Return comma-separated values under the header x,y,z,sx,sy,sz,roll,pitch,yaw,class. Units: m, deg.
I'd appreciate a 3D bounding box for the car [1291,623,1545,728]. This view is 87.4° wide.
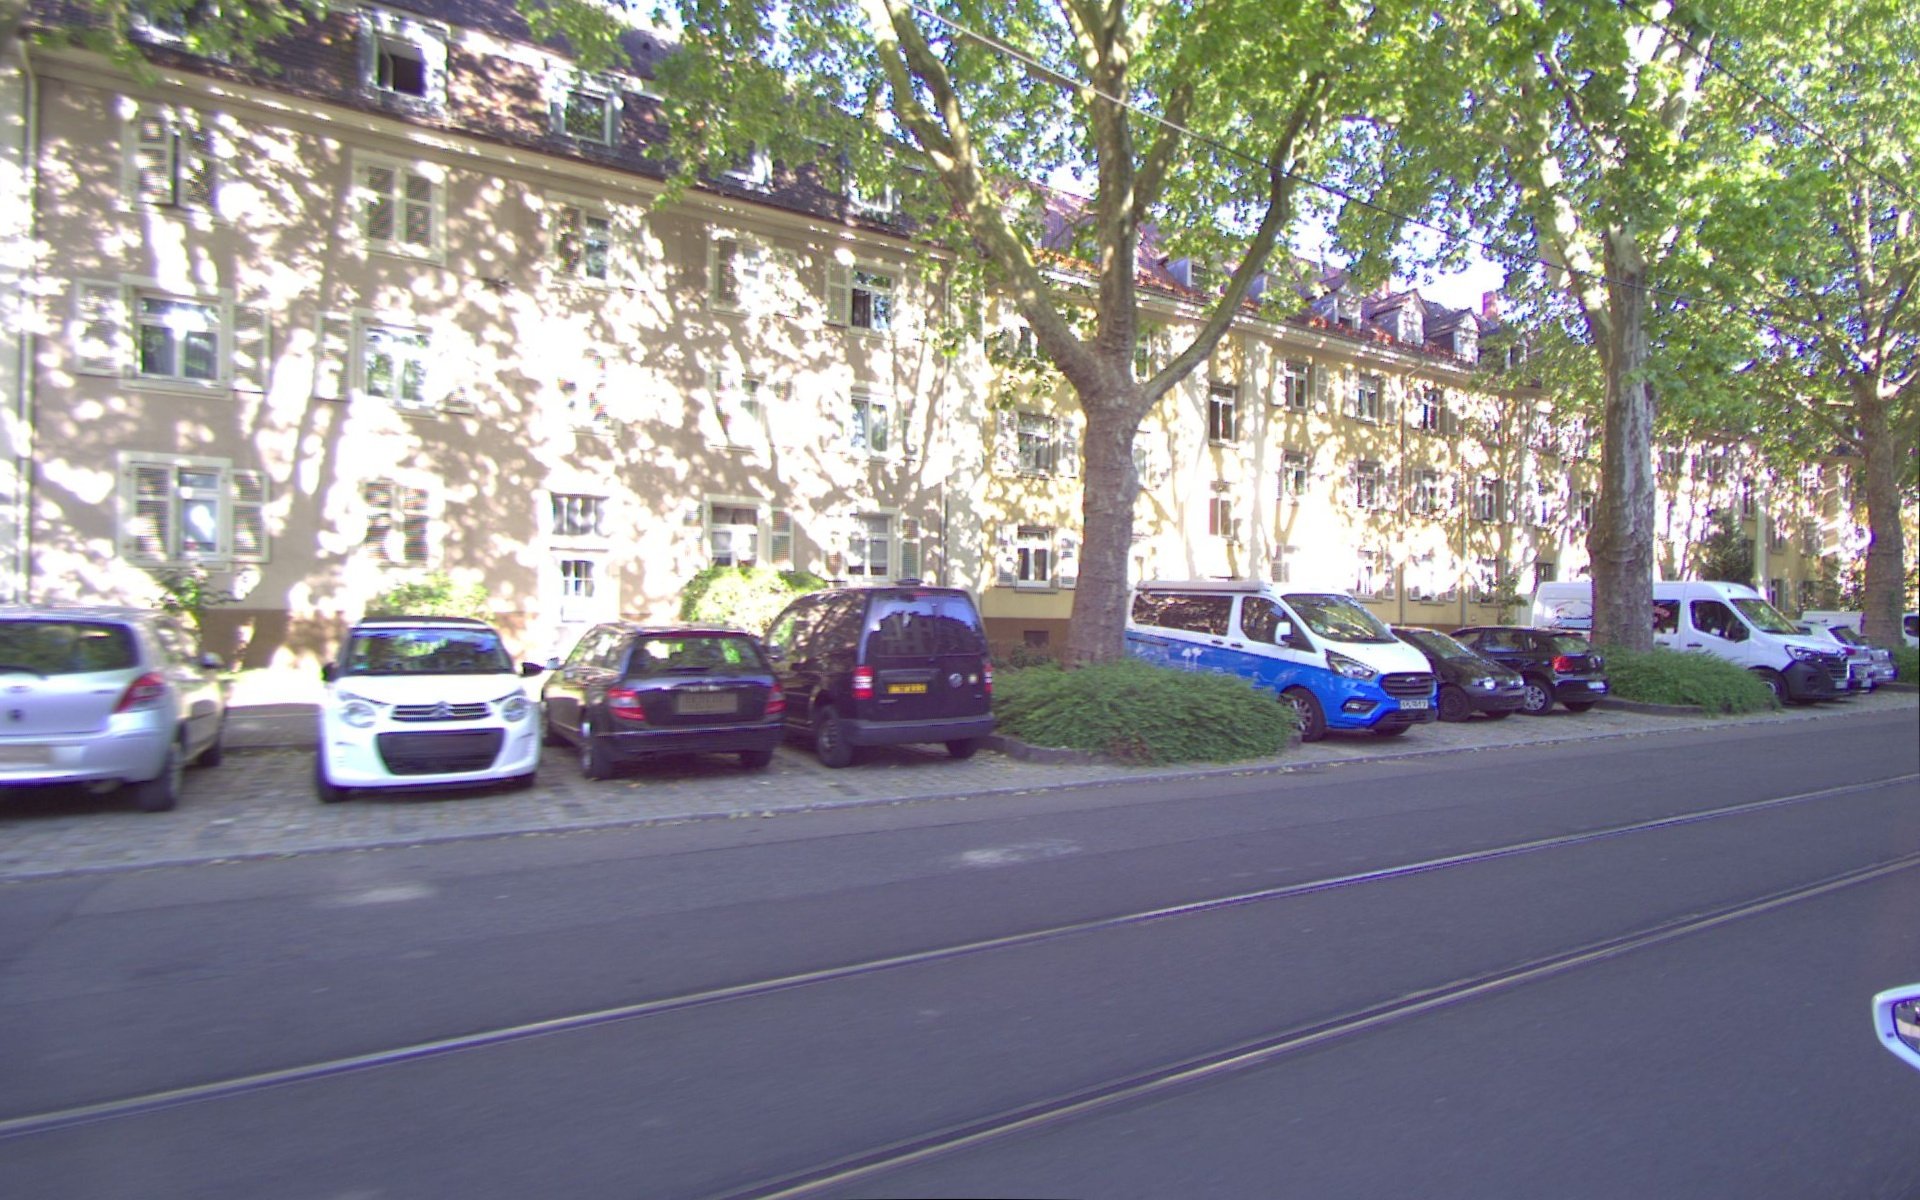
x,y,z,sx,sy,sz,roll,pitch,yaw,class
7.538,1.171,16.782,1.680,1.479,3.505,1,-1,-36,car

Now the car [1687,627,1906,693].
x,y,z,sx,sy,sz,roll,pitch,yaw,class
20.806,1.439,25.154,1.840,1.517,3.831,1,-2,-29,car

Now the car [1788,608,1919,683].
x,y,z,sx,sy,sz,roll,pitch,yaw,class
26.306,1.249,27.989,1.940,1.971,4.630,1,-1,-32,car

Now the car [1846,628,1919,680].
x,y,z,sx,sy,sz,roll,pitch,yaw,class
28.741,1.578,29.404,1.840,1.517,3.831,1,-2,-29,car

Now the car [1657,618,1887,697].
x,y,z,sx,sy,sz,roll,pitch,yaw,class
19.001,1.289,23.670,1.840,1.685,3.831,1,-2,-29,car

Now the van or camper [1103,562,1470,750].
x,y,z,sx,sy,sz,roll,pitch,yaw,class
4.453,0.684,14.503,2.097,2.219,4.791,1,-1,-33,van or camper

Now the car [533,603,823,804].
x,y,z,sx,sy,sz,roll,pitch,yaw,class
-3.034,0.875,10.300,1.781,1.646,3.658,1,-1,-34,car

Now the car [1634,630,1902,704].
x,y,z,sx,sy,sz,roll,pitch,yaw,class
17.480,1.381,21.964,1.732,1.417,4.246,1,-2,-29,car

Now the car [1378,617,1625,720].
x,y,z,sx,sy,sz,roll,pitch,yaw,class
9.552,1.137,18.007,1.592,1.586,3.669,1,-1,-27,car

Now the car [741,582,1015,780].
x,y,z,sx,sy,sz,roll,pitch,yaw,class
-1.083,0.772,11.362,1.684,1.839,3.664,1,-1,-30,car

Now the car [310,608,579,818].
x,y,z,sx,sy,sz,roll,pitch,yaw,class
-4.922,0.858,9.336,1.686,1.505,3.656,1,-1,-36,car

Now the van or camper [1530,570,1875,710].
x,y,z,sx,sy,sz,roll,pitch,yaw,class
15.407,0.753,21.251,2.414,2.549,5.368,1,-1,-28,van or camper

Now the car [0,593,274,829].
x,y,z,sx,sy,sz,roll,pitch,yaw,class
-7.143,0.743,8.362,1.680,1.574,3.672,1,-1,-24,car
